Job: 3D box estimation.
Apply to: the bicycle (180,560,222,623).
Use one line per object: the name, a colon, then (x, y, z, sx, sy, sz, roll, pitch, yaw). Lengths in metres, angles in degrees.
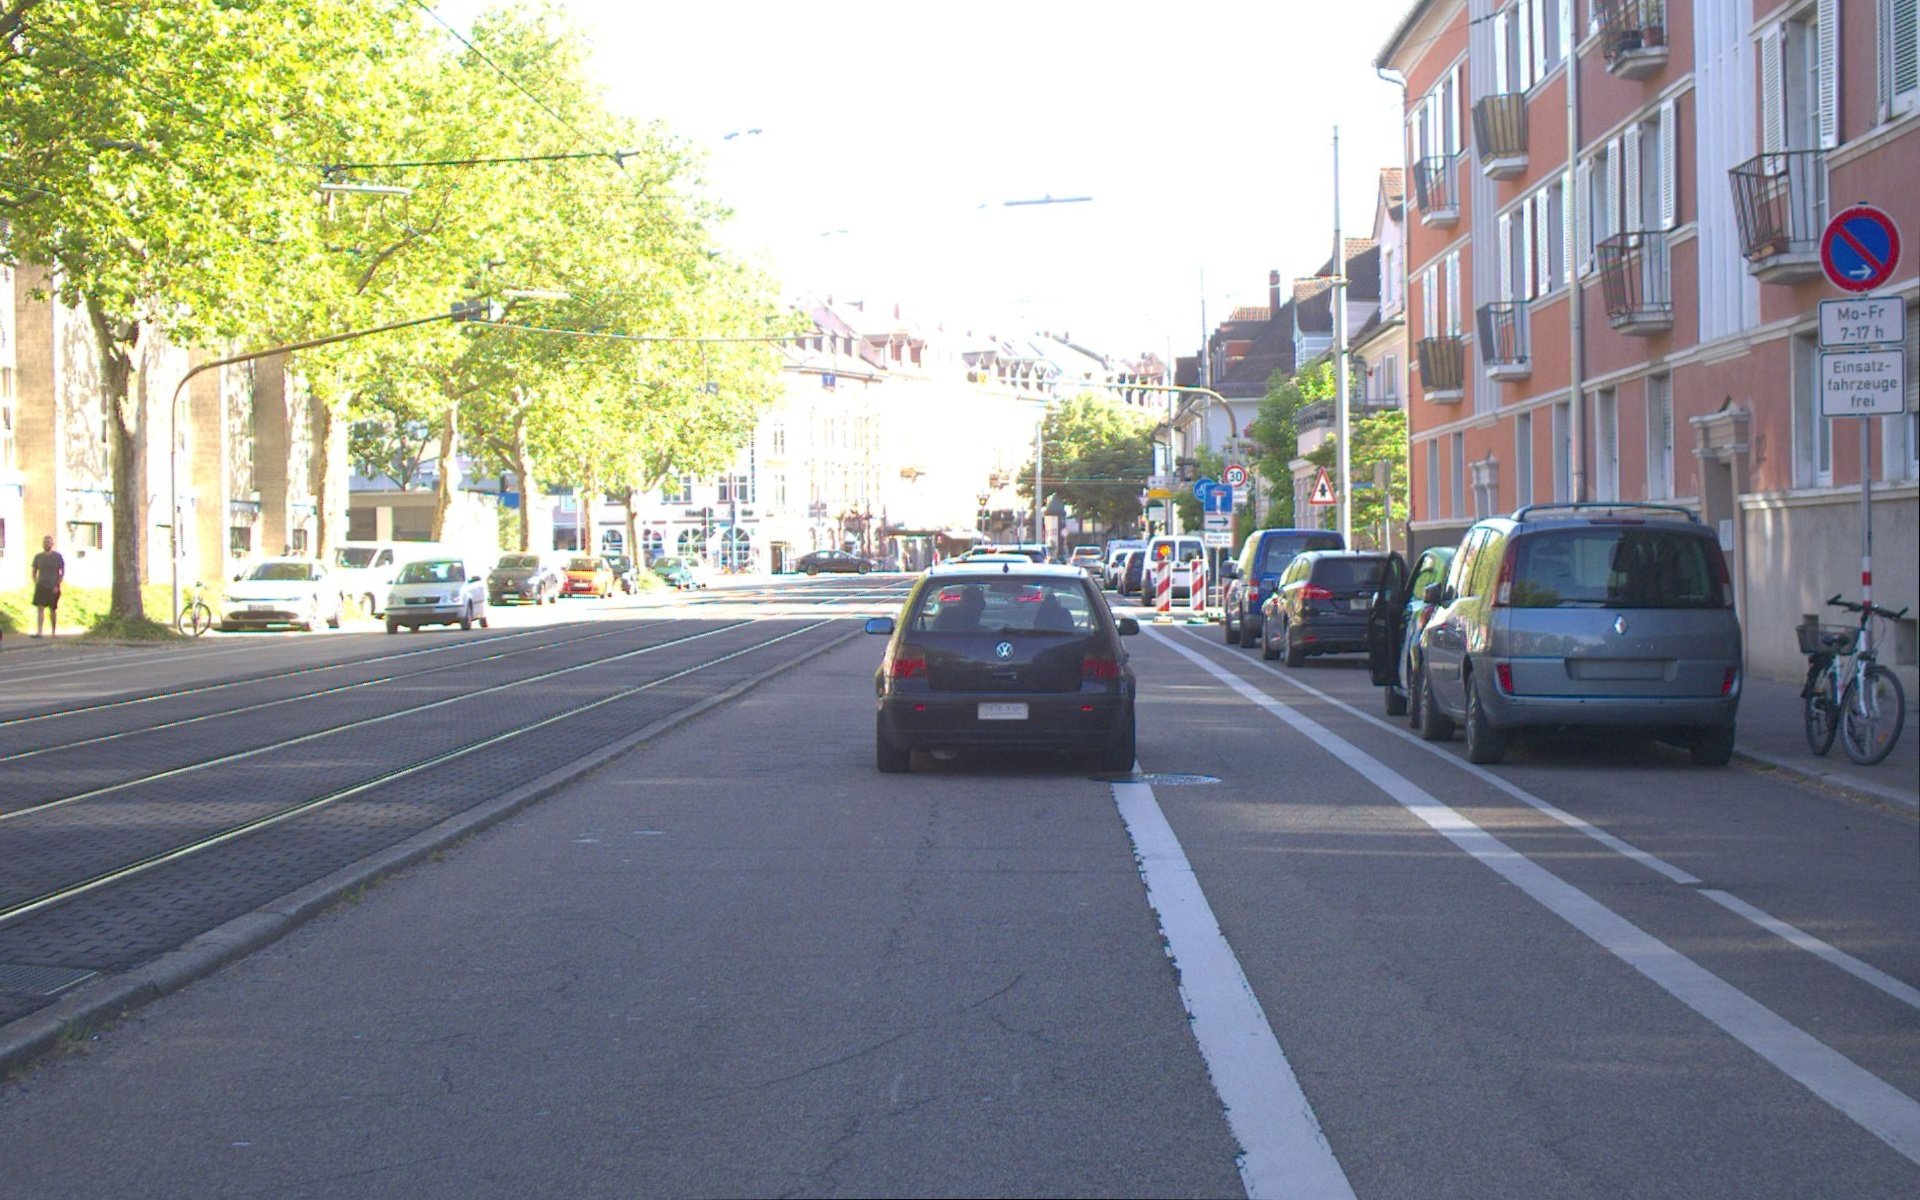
bicycle: (-14.930, -0.170, 67.608, 0.581, 1.205, 1.654, -1, 1, -5)

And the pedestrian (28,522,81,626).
pedestrian: (-16.397, -0.475, 62.243, 0.784, 1.863, 0.671, 1, 1, -27)

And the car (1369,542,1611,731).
car: (4.557, 0.267, 29.969, 1.631, 1.506, 3.716, 1, 1, 2)

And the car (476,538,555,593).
car: (-13.910, -1.091, 107.684, 1.888, 1.660, 4.000, 0, 1, 1)

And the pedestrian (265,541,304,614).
pedestrian: (-16.993, -0.575, 86.525, 0.796, 1.814, 0.670, 1, 1, 1)

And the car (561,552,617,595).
car: (-13.404, -0.936, 124.319, 1.570, 1.528, 3.572, 0, 0, 1)

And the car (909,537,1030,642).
car: (0.177, -0.193, 52.961, 1.748, 1.532, 3.891, -1, 1, 2)

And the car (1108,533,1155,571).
car: (6.302, -1.771, 126.444, 1.580, 1.370, 4.000, 0, 1, 1)

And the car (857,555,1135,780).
car: (0.220, 0.403, 23.758, 1.748, 1.370, 4.000, -1, 1, 0)

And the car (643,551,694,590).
car: (-12.953, -1.325, 152.922, 1.884, 1.663, 3.804, 1, 1, 0)

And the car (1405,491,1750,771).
car: (4.428, 0.164, 25.326, 1.753, 1.849, 4.815, 0, 1, 1)

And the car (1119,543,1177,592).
car: (5.917, -1.049, 108.473, 1.661, 1.520, 4.036, 0, 1, 1)

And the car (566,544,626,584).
car: (-14.113, -1.398, 133.571, 1.792, 1.460, 3.836, 2, 1, 1)

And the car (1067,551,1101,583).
car: (6.218, -1.654, 172.674, 1.668, 1.592, 3.650, 0, 1, 1)

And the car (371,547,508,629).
car: (-10.265, -0.262, 68.023, 1.753, 1.513, 4.070, -2, 1, 4)

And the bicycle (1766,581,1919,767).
bicycle: (5.948, 0.468, 23.105, 0.514, 1.136, 2.259, -2, 1, 1)

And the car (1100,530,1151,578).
car: (6.296, -1.764, 131.080, 1.817, 1.793, 4.000, 0, 1, 1)

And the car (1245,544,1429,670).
car: (4.858, 0.053, 44.923, 1.753, 1.506, 4.763, 1, 1, -1)

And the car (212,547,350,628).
car: (-14.406, -0.294, 73.178, 2.011, 1.567, 4.694, 1, 1, 0)

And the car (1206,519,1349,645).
car: (4.894, -0.308, 53.535, 1.702, 1.804, 4.272, 3, 1, -1)

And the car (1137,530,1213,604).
car: (5.519, -0.872, 88.716, 1.759, 1.831, 3.547, 1, 1, 1)

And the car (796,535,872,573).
car: (-7.079, -2.601, 192.598, 3.986, 2.007, 2.001, 1, 1, -10)

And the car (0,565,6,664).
car: (-14.866, 0.183, 48.895, 1.507, 1.449, 3.463, 0, -1, 2)

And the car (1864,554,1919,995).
car: (4.103, 0.637, 10.302, 1.714, 1.495, 4.226, 1, 1, 1)

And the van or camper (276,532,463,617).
van or camper: (-14.290, -0.633, 83.526, 2.062, 1.943, 5.184, 2, 1, 21)
